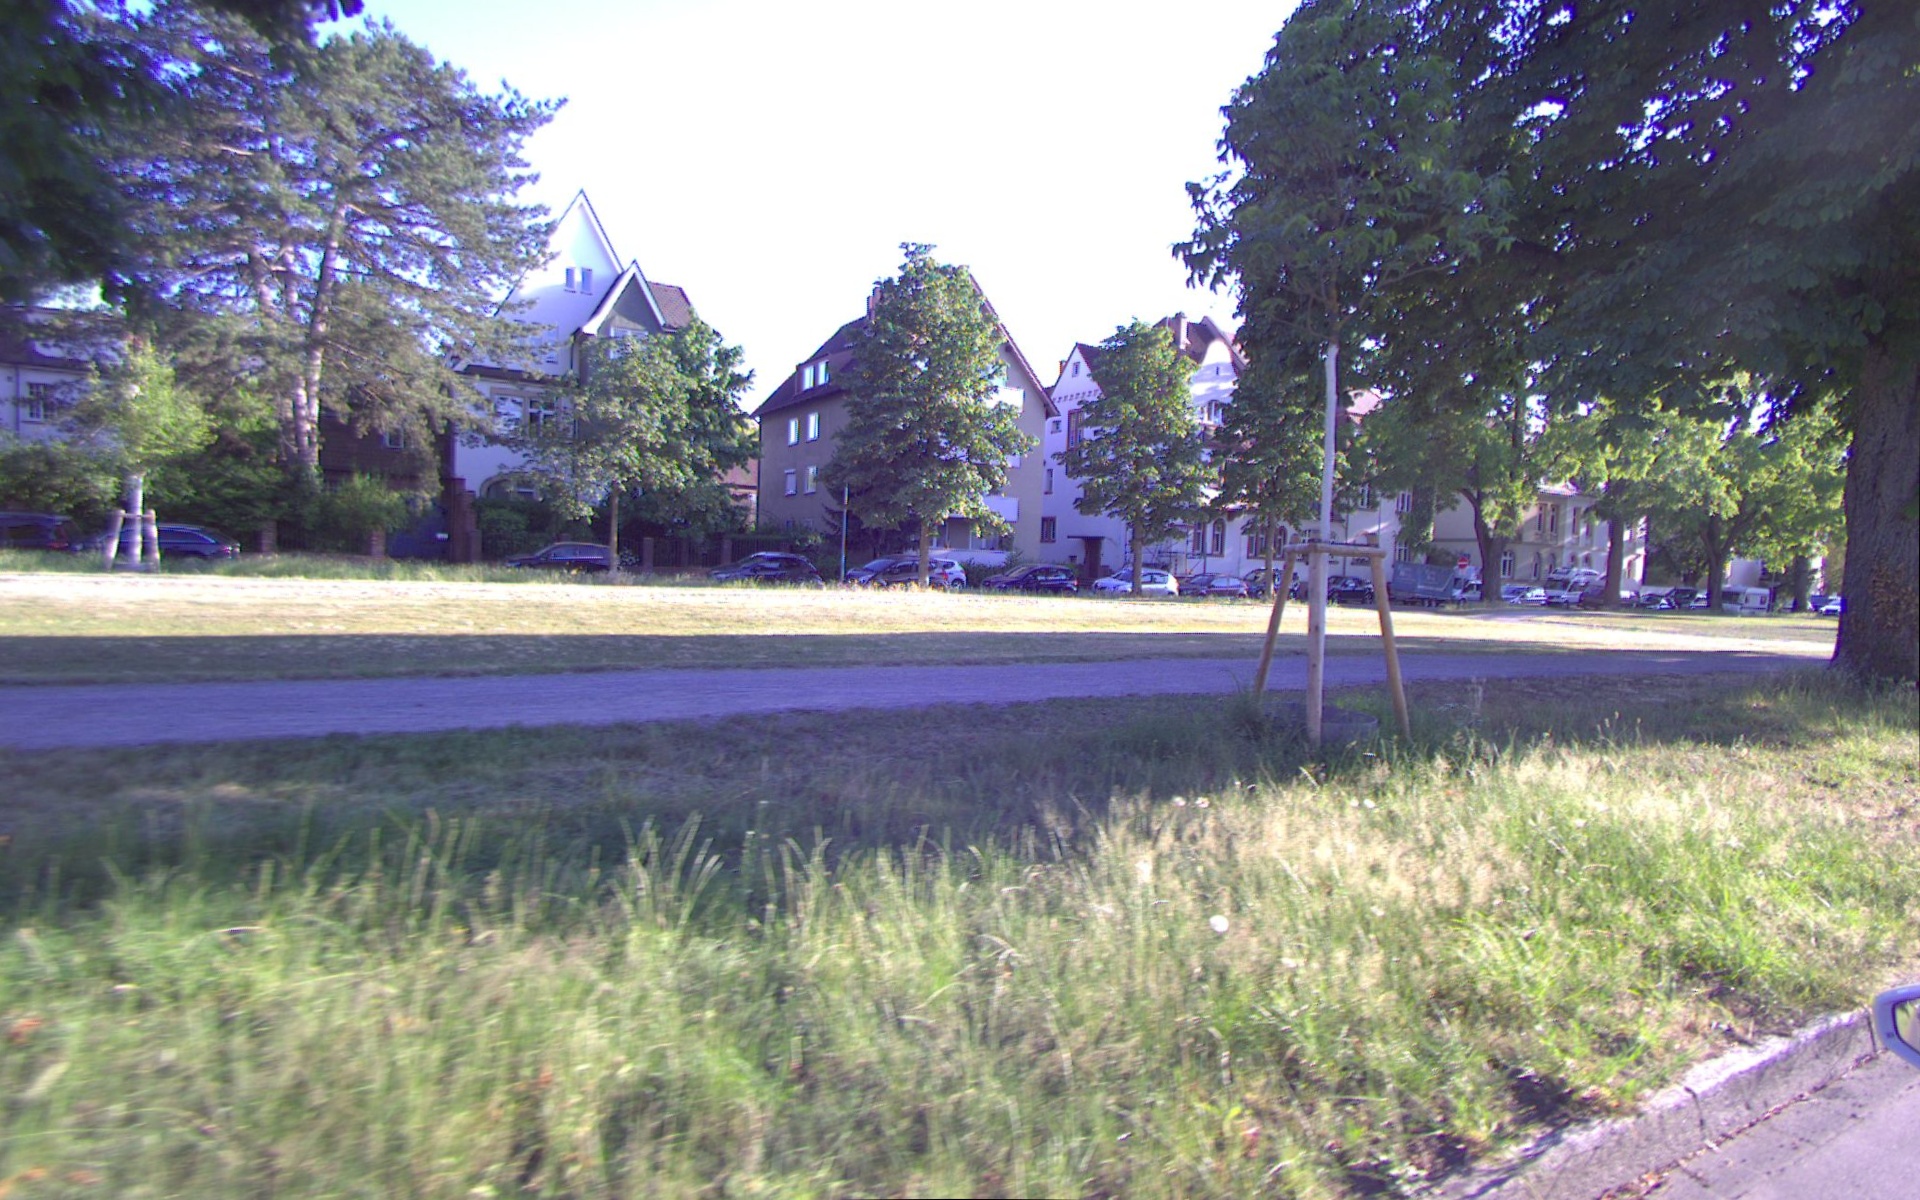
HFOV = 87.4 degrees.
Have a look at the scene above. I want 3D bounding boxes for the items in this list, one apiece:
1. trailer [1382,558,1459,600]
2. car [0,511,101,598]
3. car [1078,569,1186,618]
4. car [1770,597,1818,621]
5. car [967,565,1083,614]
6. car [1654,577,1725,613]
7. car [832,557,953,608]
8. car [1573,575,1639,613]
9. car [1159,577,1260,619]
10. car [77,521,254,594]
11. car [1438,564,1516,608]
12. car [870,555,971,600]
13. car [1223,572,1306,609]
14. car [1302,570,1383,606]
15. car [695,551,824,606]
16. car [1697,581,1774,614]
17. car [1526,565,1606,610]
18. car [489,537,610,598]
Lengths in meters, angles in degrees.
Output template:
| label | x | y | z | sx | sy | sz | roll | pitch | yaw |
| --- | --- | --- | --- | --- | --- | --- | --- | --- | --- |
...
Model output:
| label | x | y | z | sx | sy | sz | roll | pitch | yaw |
| --- | --- | --- | --- | --- | --- | --- | --- | --- | --- |
| trailer | 28.710 | -1.307 | 62.574 | 4.668 | 2.461 | 1.984 | 1 | 2 | -30 |
| car | -23.698 | -1.147 | 24.412 | 3.953 | 2.041 | 1.984 | 1 | 3 | -30 |
| car | 7.384 | -0.265 | 43.058 | 4.204 | 1.885 | 1.984 | 1 | 3 | -29 |
| car | 75.573 | 0.799 | 91.012 | 4.432 | 2.040 | 1.984 | 1 | 0 | -31 |
| car | 2.624 | -0.420 | 40.250 | 4.204 | 1.744 | 1.984 | 1 | 3 | -29 |
| car | 49.747 | -0.345 | 68.473 | 5.126 | 2.280 | 1.983 | 1 | 2 | -31 |
| car | -2.495 | -0.641 | 37.049 | 3.950 | 1.706 | 1.985 | 1 | 3 | -28 |
| car | 40.462 | -0.374 | 62.899 | 4.263 | 2.205 | 1.677 | 1 | 2 | -30 |
| car | 11.320 | -0.087 | 45.540 | 4.204 | 1.671 | 1.984 | 1 | 3 | -29 |
| car | -24.217 | -1.282 | 30.814 | 3.951 | 2.041 | 1.984 | 1 | 3 | -29 |
| car | 33.803 | -0.926 | 65.655 | 5.125 | 2.709 | 1.984 | 1 | 2 | -30 |
| car | -1.747 | -0.996 | 44.324 | 3.957 | 1.807 | 1.982 | 1 | 3 | -33 |
| car | 16.880 | -0.507 | 55.592 | 4.448 | 1.901 | 1.981 | 1 | 2 | -33 |
| car | 22.589 | -0.701 | 59.266 | 4.697 | 1.979 | 1.983 | 1 | 2 | -32 |
| car | -6.905 | -0.739 | 34.634 | 3.950 | 1.706 | 1.985 | 1 | 3 | -28 |
| car | 55.828 | -0.208 | 72.309 | 5.394 | 2.267 | 2.522 | 0 | 2 | -30 |
| car | 42.977 | -0.843 | 71.184 | 5.750 | 2.961 | 2.426 | 1 | 0 | -31 |
| car | -14.982 | -1.194 | 36.661 | 3.947 | 2.041 | 1.986 | 1 | 3 | -26 |
